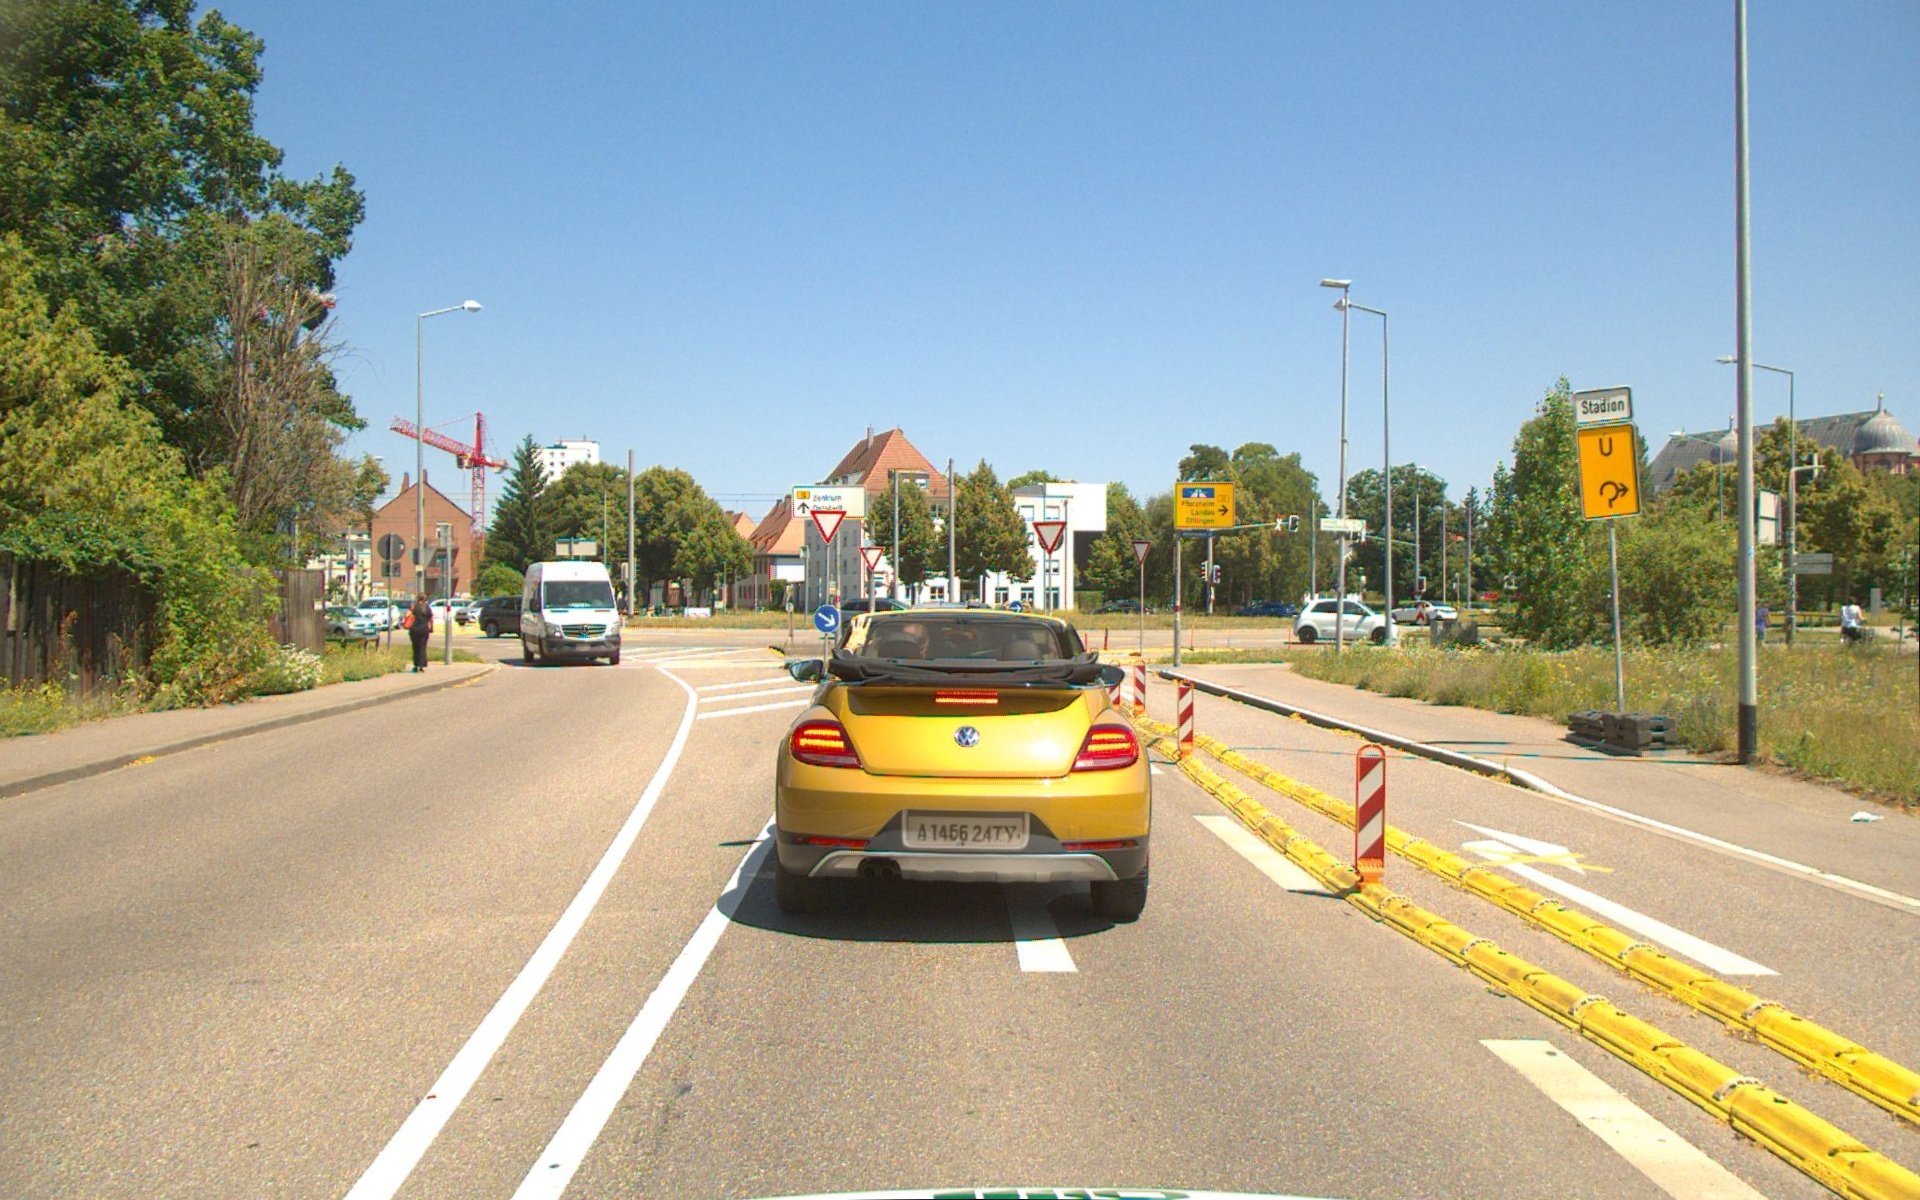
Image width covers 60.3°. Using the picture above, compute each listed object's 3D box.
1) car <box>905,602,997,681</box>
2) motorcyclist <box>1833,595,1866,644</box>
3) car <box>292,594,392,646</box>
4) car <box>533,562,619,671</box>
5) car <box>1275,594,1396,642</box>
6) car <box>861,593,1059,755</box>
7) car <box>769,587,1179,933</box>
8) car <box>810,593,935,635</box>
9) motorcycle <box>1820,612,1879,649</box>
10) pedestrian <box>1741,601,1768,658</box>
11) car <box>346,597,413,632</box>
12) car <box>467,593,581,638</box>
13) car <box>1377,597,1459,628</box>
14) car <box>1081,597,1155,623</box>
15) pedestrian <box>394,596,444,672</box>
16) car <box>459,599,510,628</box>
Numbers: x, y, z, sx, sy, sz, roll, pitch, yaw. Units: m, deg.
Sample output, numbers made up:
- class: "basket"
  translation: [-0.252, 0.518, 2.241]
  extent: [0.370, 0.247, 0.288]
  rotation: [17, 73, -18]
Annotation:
- class: "car"
  translation: [-0.188, 0.786, 33.015]
  extent: [1.701, 1.467, 3.999]
  rotation: [1, 0, -1]
- class: "motorcyclist"
  translation: [24.079, 0.536, 44.770]
  extent: [0.606, 1.312, 0.576]
  rotation: [1, -1, -30]
- class: "car"
  translation: [-23.510, 0.776, 62.865]
  extent: [3.597, 1.882, 1.630]
  rotation: [-2, -1, 29]
- class: "car"
  translation: [-10.038, 0.400, 42.955]
  extent: [1.986, 2.583, 6.801]
  rotation: [-1, 0, -14]
- class: "car"
  translation: [12.827, 0.608, 56.651]
  extent: [3.902, 1.579, 1.741]
  rotation: [1, 0, 8]
- class: "car"
  translation: [-0.019, 0.695, 17.243]
  extent: [1.810, 1.467, 3.999]
  rotation: [1, 0, -1]
- class: "car"
  translation: [0.032, 0.688, 8.886]
  extent: [1.717, 1.447, 3.776]
  rotation: [1, 0, -1]
- class: "car"
  translation: [-3.124, 0.501, 59.410]
  extent: [4.104, 1.415, 1.903]
  rotation: [1, 0, 15]
- class: "motorcycle"
  translation: [24.053, 0.828, 44.722]
  extent: [1.685, 0.987, 0.625]
  rotation: [1, -1, -30]
- class: "pedestrian"
  translation: [22.307, 0.815, 46.455]
  extent: [0.487, 1.590, 0.514]
  rotation: [1, -1, -1]
- class: "car"
  translation: [-27.068, 0.675, 77.247]
  extent: [1.720, 1.576, 3.999]
  rotation: [1, 0, -1]
- class: "car"
  translation: [-16.688, 0.576, 63.249]
  extent: [4.361, 1.624, 1.991]
  rotation: [0, 0, 38]
- class: "car"
  translation: [28.273, 0.766, 102.253]
  extent: [1.996, 1.817, 5.135]
  rotation: [-1, 0, -26]
- class: "car"
  translation: [11.225, 0.708, 117.711]
  extent: [4.817, 1.817, 2.025]
  rotation: [-1, 0, 24]
- class: "pedestrian"
  translation: [-11.403, 0.711, 34.890]
  extent: [0.792, 1.590, 0.876]
  rotation: [1, -1, -5]
- class: "car"
  translation: [-26.628, 0.758, 92.734]
  extent: [1.720, 1.576, 3.999]
  rotation: [1, 0, -1]
